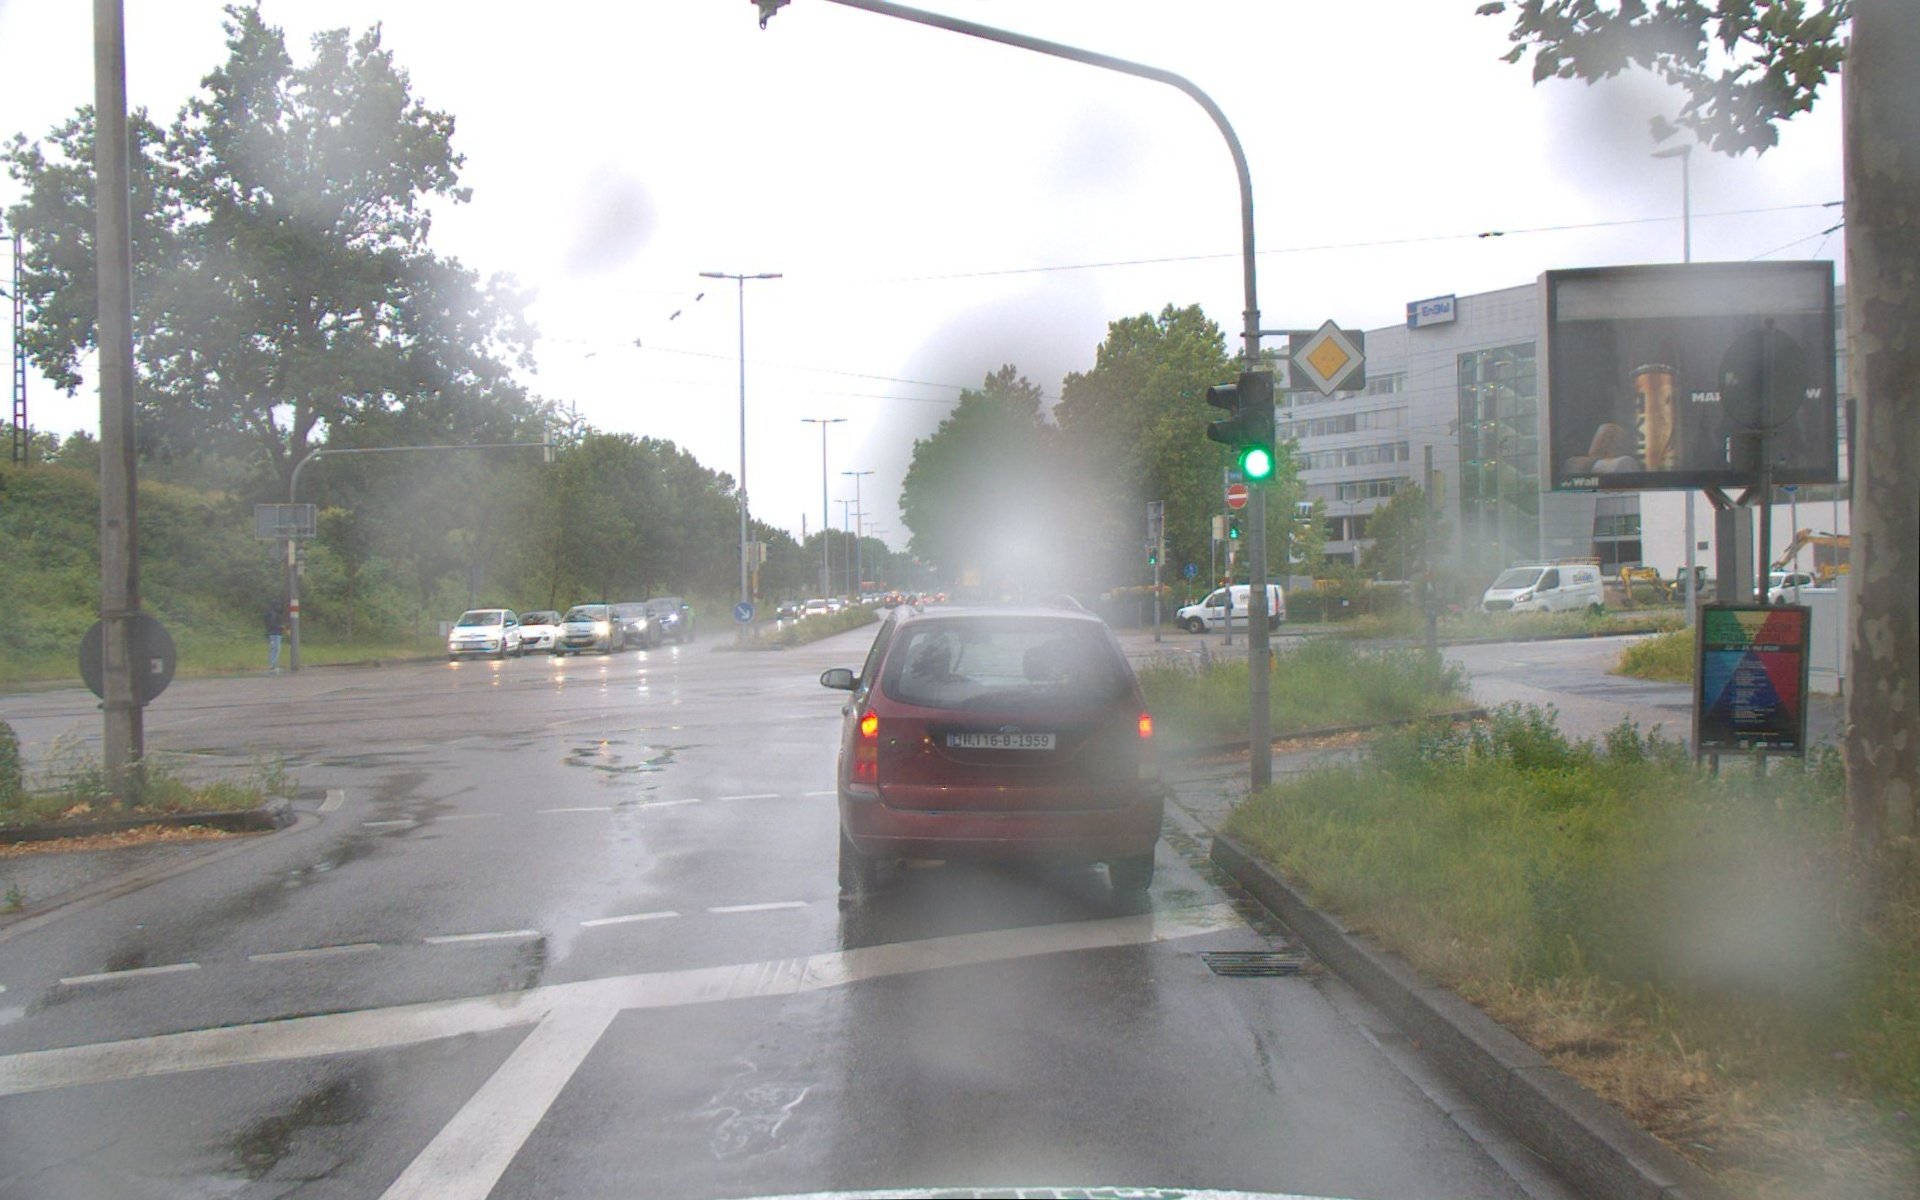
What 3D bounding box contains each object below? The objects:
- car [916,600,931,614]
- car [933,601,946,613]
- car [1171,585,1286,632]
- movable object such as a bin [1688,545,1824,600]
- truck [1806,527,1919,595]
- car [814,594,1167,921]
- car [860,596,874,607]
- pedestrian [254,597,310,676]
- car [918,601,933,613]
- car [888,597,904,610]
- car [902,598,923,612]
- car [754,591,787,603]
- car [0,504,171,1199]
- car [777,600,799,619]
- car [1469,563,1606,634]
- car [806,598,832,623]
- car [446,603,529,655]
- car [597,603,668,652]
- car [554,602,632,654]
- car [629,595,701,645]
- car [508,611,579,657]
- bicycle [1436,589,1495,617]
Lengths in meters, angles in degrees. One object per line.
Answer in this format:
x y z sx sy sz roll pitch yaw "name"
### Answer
-4.156 0.822 189.483 1.663 1.554 3.845 -1 0 0 "car"
-2.624 0.904 212.482 1.637 1.554 3.846 -1 0 0 "car"
10.326 0.307 63.514 4.141 1.756 1.742 0 0 19 "car"
47.957 -1.628 99.831 3.293 3.048 6.633 -2 0 -37 "movable object such as a bin"
52.440 -2.213 93.245 3.292 3.568 7.788 -2 0 -36 "truck"
0.082 0.730 9.511 1.609 1.490 3.731 1 0 -2 "car"
-13.548 0.201 240.949 1.923 1.625 4.283 -2 0 -1 "car"
-16.784 0.892 40.976 1.083 1.879 1.127 -1 0 -13 "pedestrian"
-4.718 0.918 226.256 1.636 1.554 3.847 -1 0 3 "car"
-7.692 0.426 198.188 1.663 1.554 3.846 -1 0 0 "car"
-5.209 0.554 182.891 2.103 1.554 4.193 -1 0 1 "car"
-27.305 -0.461 238.552 4.238 1.625 1.944 -2 0 -37 "car"
-2.256 0.645 0.609 1.734 1.601 4.819 1 0 -2 "car"
-15.831 0.860 152.465 1.708 1.732 4.282 1 0 -2 "car"
18.540 -0.071 53.040 4.641 2.162 1.972 -1 -1 -39 "car"
-10.693 0.777 125.702 1.709 1.732 4.282 -3 0 -2 "car"
-14.338 0.857 50.377 1.605 1.478 3.785 -2 0 -3 "car"
-11.572 0.973 58.660 1.727 1.614 4.810 -2 -1 -3 "car"
-11.393 0.833 51.541 1.605 1.499 3.963 -2 0 -2 "car"
-11.853 0.777 66.815 2.024 1.851 5.539 -2 0 -2 "car"
-14.267 1.143 56.762 1.559 1.428 3.821 -2 0 -2 "car"
20.592 0.125 67.395 2.258 1.064 0.849 -2 -1 19 "bicycle"
